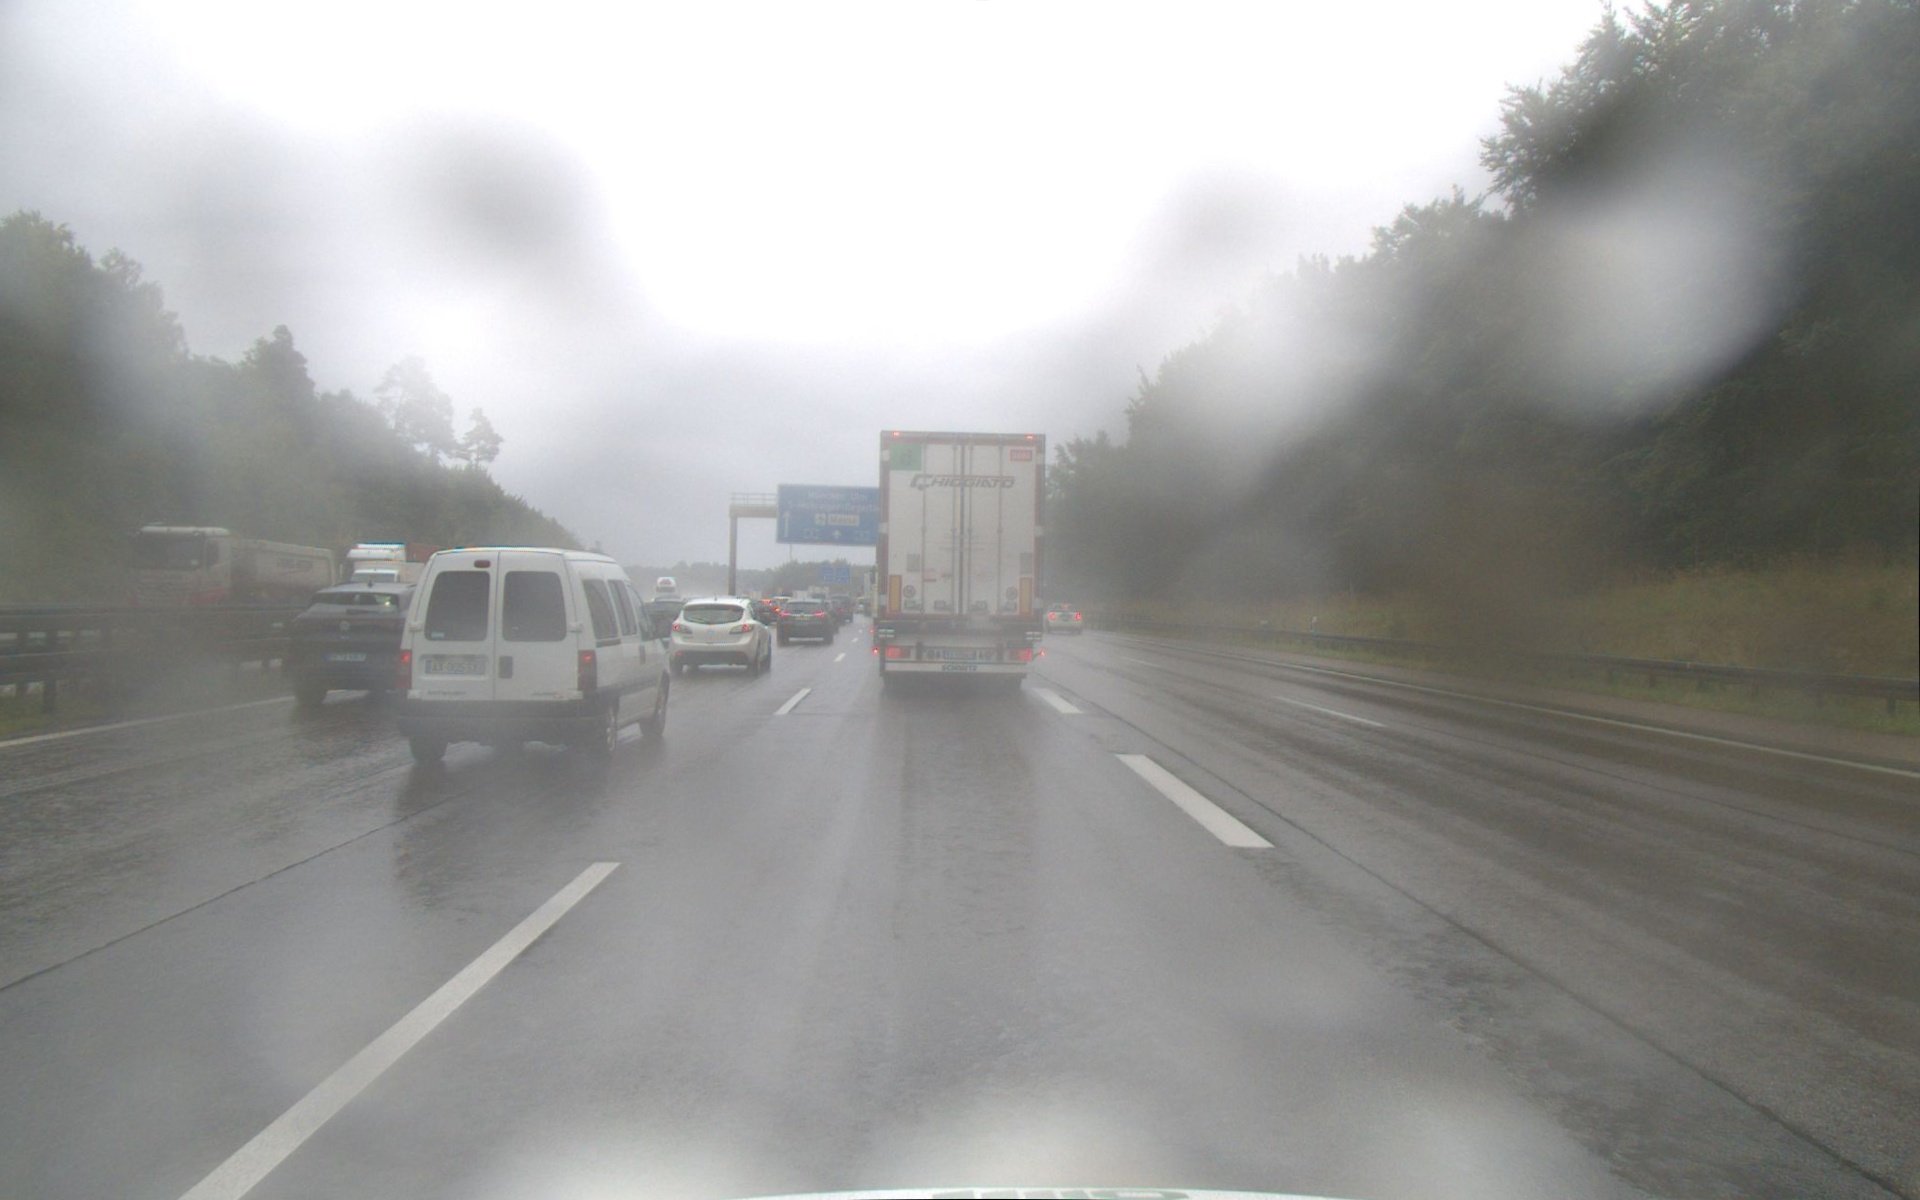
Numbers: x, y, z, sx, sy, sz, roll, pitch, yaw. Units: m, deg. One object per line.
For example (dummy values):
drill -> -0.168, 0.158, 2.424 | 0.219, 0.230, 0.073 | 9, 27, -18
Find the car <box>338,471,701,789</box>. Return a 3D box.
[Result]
car -> -4.058, 0.232, 16.273 | 2.167, 2.618, 5.016 | 1, 0, 0

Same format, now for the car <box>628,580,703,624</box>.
car -> -9.642, 0.053, 54.431 | 1.808, 1.354, 4.465 | 1, 0, -2

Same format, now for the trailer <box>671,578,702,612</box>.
trailer -> -34.997, -0.625, 211.741 | 2.490, 4.096, 13.840 | 1, 0, -4

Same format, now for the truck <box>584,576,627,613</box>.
truck -> -35.605, -0.537, 166.506 | 2.469, 3.544, 11.711 | 1, 0, -4

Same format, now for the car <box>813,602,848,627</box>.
car -> -7.386, 0.803, 94.614 | 1.808, 1.354, 4.465 | 1, 0, -2

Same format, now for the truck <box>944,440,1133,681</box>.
truck -> 1.236, -0.575, 30.771 | 2.813, 3.624, 11.302 | 1, 0, 0

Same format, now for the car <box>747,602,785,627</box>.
car -> -11.322, 0.822, 96.672 | 1.808, 1.354, 4.465 | 1, 0, -2

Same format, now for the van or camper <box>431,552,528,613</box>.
van or camper -> -25.399, -0.891, 87.844 | 2.785, 3.030, 8.783 | 1, 0, -2

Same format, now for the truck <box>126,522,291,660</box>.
truck -> -23.383, -0.261, 51.818 | 2.329, 4.023, 6.535 | 0, 0, -1

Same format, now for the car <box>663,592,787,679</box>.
car -> -4.670, 0.663, 33.380 | 1.807, 1.619, 4.072 | 1, 0, 1

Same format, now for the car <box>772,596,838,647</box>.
car -> -5.225, 0.683, 56.348 | 1.808, 1.619, 4.466 | 1, 0, 0

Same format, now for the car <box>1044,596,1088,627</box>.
car -> 5.060, 0.532, 79.474 | 1.754, 1.431, 4.227 | 1, 0, -2

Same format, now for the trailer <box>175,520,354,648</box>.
trailer -> -23.502, -0.506, 56.508 | 2.329, 4.023, 9.419 | 0, 0, -1

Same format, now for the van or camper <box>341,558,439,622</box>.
van or camper -> -24.007, -0.445, 69.924 | 2.153, 2.592, 6.117 | 0, 0, -2

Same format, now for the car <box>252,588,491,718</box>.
car -> -8.090, 0.661, 23.209 | 1.808, 1.619, 4.465 | 1, 0, -1

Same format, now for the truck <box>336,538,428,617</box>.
truck -> -29.340, -1.119, 84.213 | 2.650, 3.884, 6.261 | 1, 0, -2

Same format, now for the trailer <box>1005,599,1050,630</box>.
trailer -> 4.041, 0.831, 99.980 | 2.198, 1.744, 5.079 | 1, 0, -3
